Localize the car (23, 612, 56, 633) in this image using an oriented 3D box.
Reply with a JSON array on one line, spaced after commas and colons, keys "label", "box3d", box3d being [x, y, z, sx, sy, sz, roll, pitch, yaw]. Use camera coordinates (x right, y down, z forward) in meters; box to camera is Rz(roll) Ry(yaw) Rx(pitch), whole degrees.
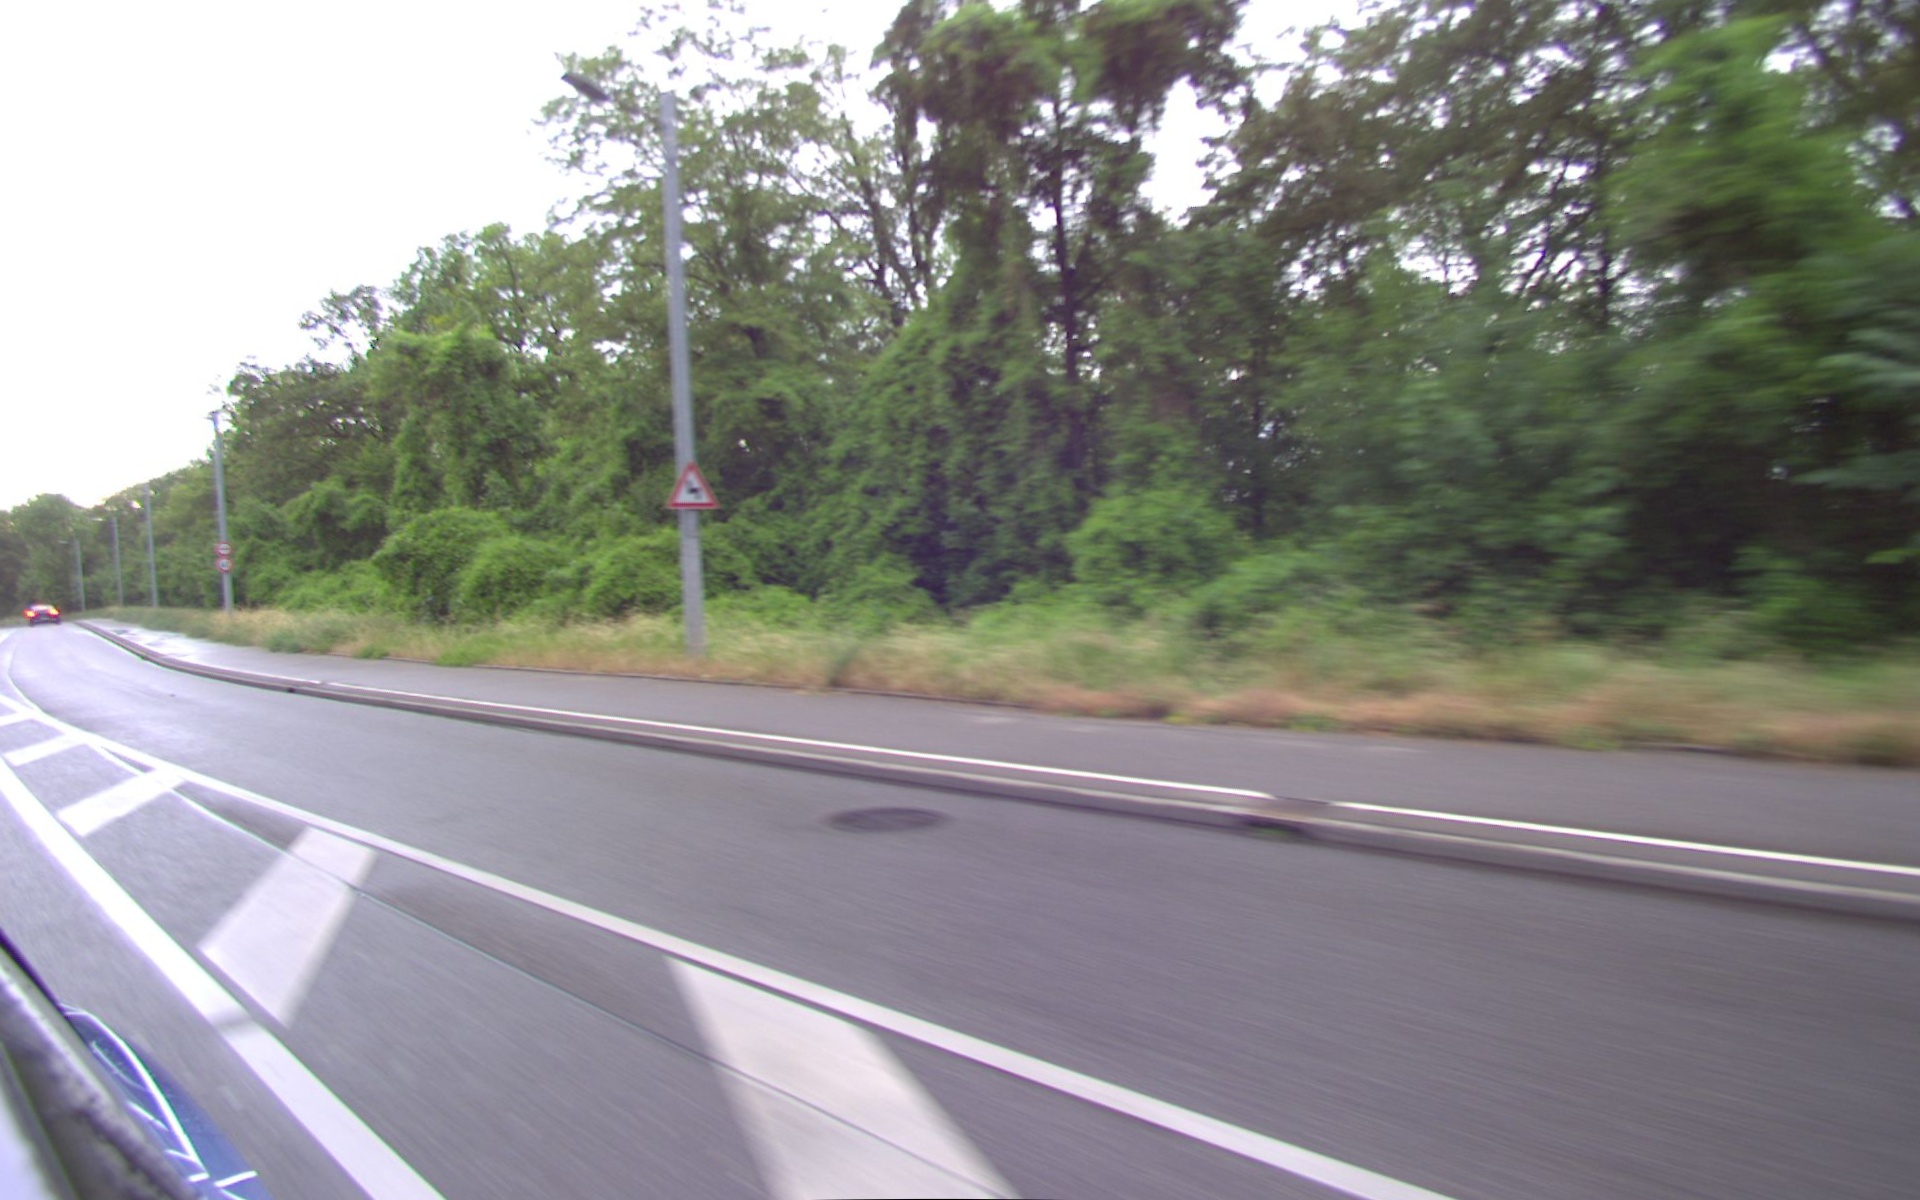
[{"label": "car", "box3d": [-78.566, 1.917, 86.388, 1.969, 1.696, 4.006, -1, 0, -41]}]
